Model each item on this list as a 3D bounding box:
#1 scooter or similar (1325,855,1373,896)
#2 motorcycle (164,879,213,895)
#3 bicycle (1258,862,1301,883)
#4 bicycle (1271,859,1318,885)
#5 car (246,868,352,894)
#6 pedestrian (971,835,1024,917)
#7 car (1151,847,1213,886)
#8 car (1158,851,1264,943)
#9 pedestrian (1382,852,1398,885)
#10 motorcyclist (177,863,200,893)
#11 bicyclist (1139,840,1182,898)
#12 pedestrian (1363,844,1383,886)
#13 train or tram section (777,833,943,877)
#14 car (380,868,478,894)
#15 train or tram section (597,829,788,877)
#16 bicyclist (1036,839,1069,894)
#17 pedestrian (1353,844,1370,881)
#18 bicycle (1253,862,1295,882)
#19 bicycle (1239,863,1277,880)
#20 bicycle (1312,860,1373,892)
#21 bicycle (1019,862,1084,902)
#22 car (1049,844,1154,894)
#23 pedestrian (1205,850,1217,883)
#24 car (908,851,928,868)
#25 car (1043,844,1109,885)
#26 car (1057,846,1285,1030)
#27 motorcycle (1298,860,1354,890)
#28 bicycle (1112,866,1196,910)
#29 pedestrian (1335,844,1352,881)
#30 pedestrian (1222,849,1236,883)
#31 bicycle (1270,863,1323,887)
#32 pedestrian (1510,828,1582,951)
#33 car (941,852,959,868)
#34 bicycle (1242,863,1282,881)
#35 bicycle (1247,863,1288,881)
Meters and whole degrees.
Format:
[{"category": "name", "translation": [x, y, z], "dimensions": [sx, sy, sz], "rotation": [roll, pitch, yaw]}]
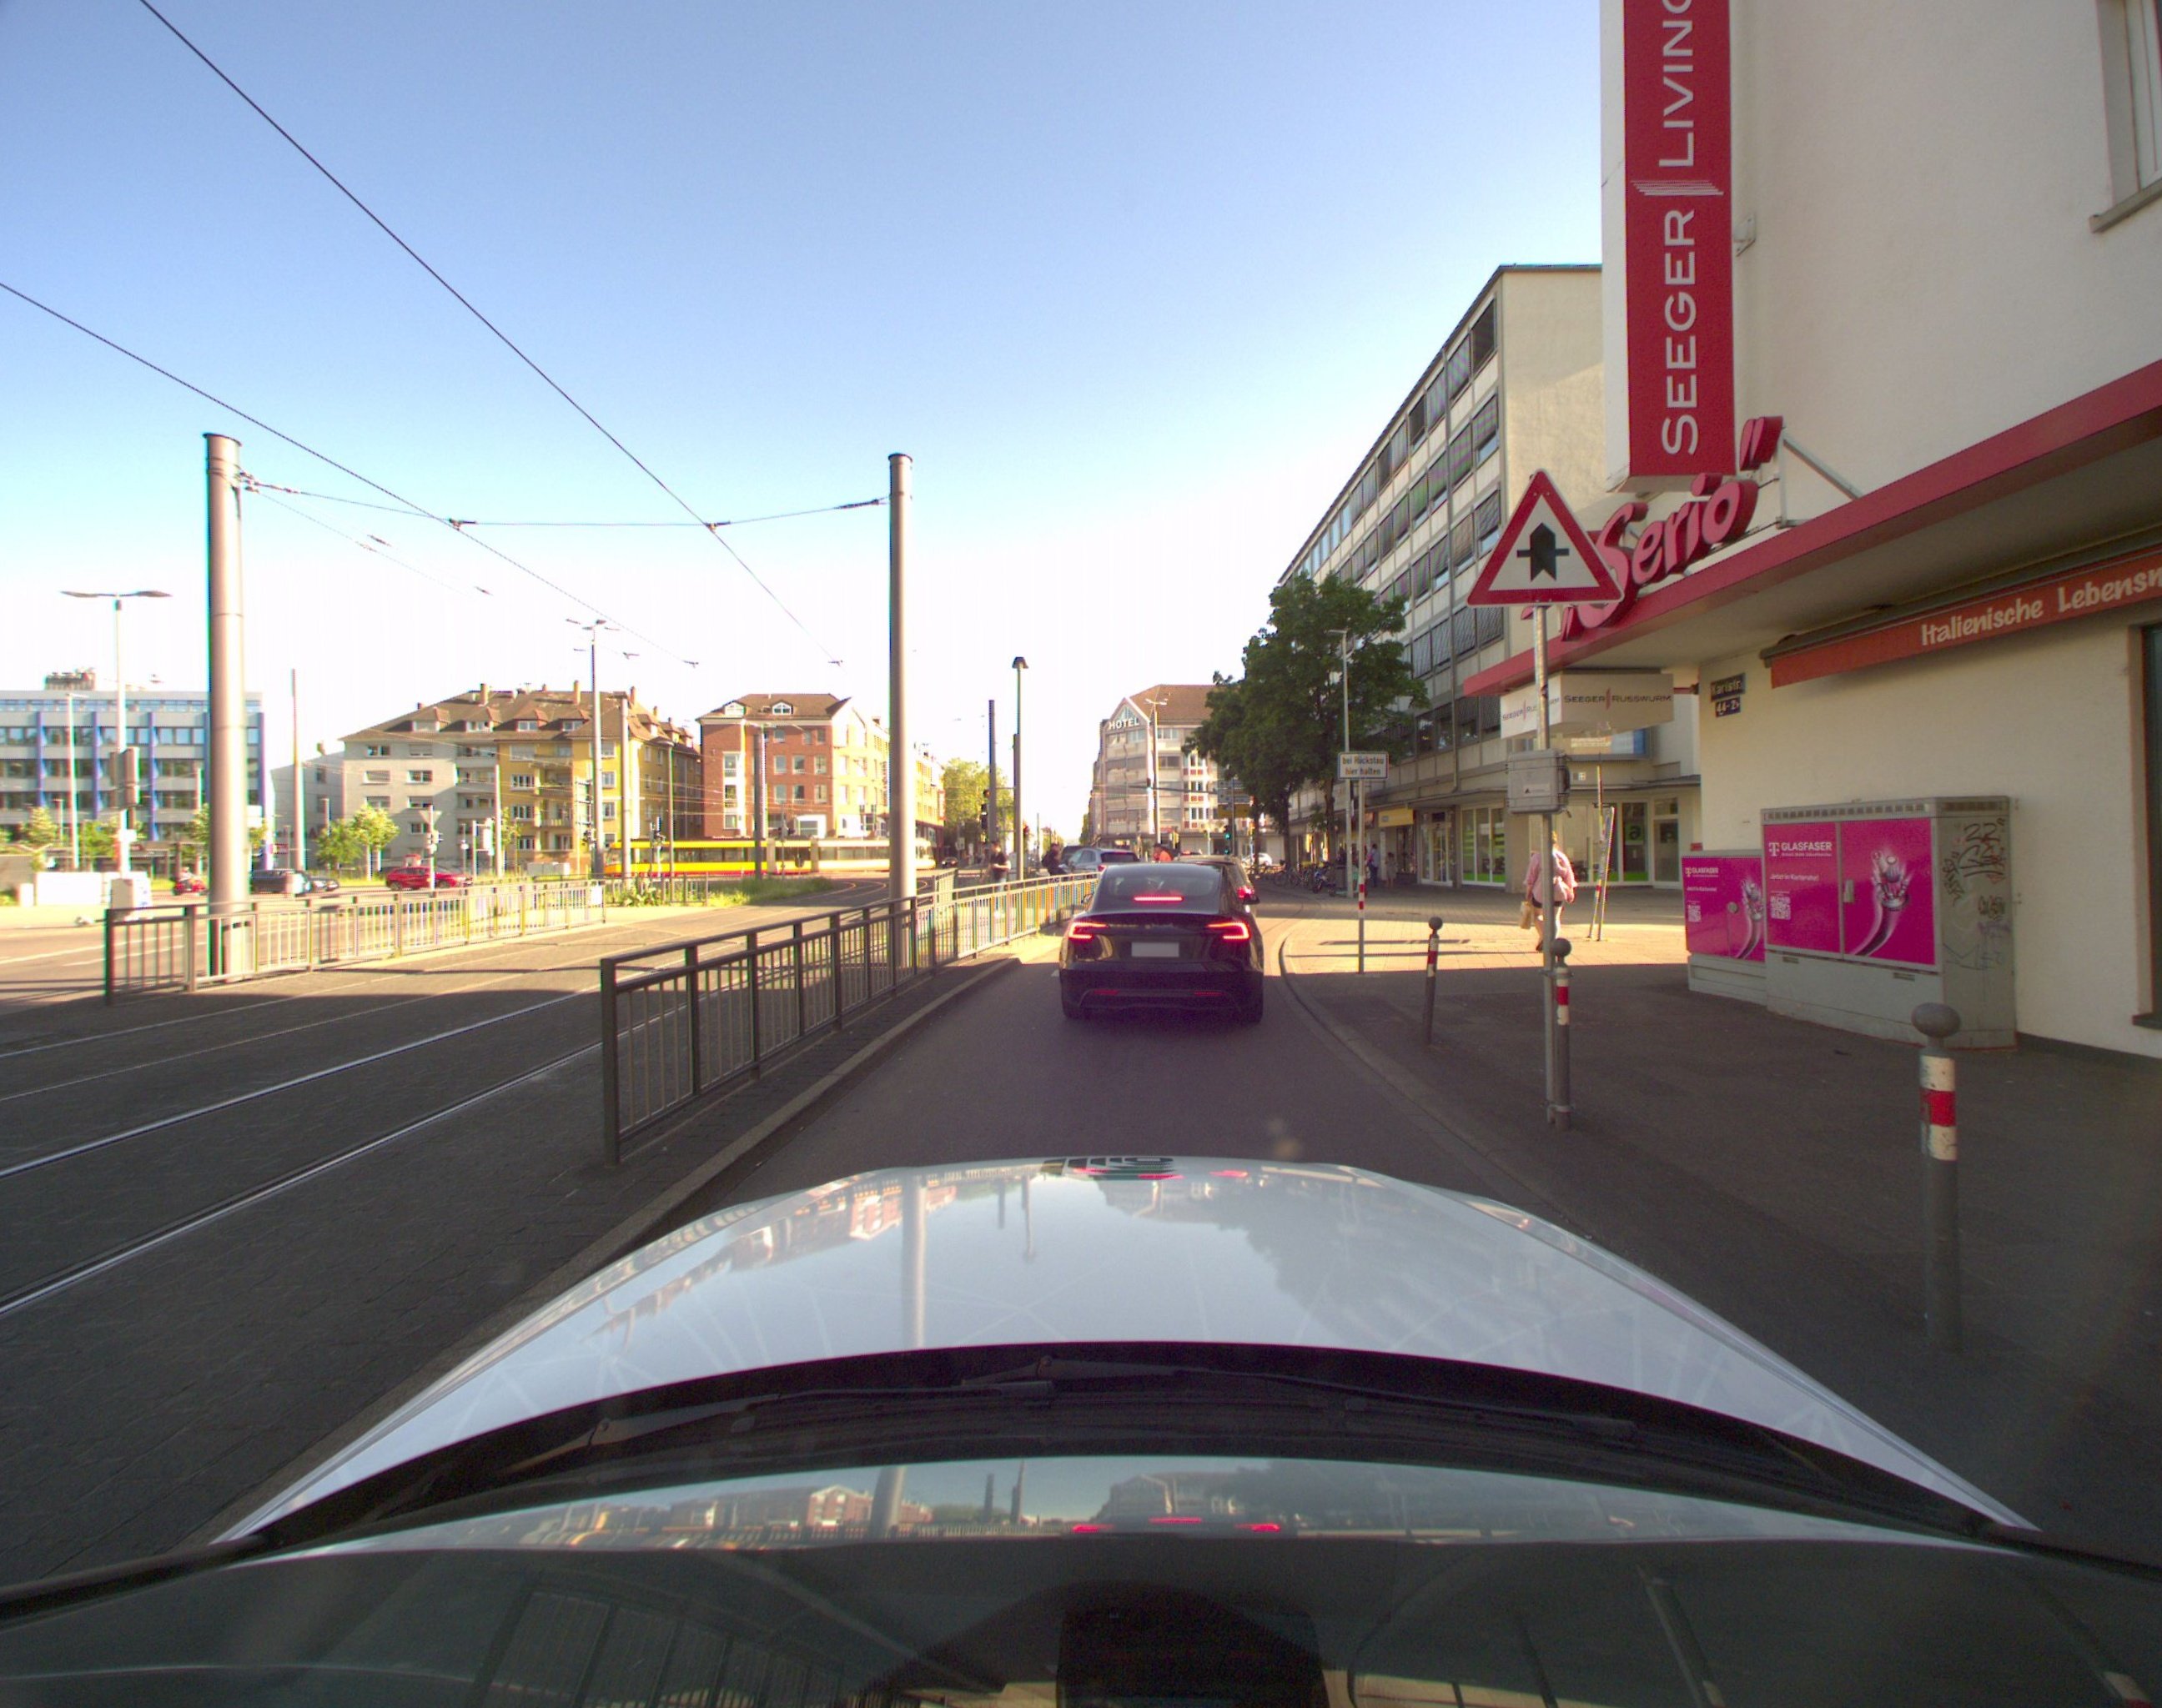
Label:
[{"category": "scooter or similar", "translation": [8.892, 0.712, 27.042], "dimensions": [1.416, 1.317, 0.690], "rotation": [0, -2, -26]}, {"category": "motorcycle", "translation": [-51.829, 1.931, 47.298], "dimensions": [1.997, 0.893, 0.559], "rotation": [1, -1, -8]}, {"category": "bicycle", "translation": [9.391, 0.865, 38.539], "dimensions": [1.917, 0.950, 0.526], "rotation": [0, -1, 1]}, {"category": "bicycle", "translation": [9.301, 0.779, 35.548], "dimensions": [1.917, 1.097, 0.555], "rotation": [0, -1, 1]}, {"category": "car", "translation": [-46.555, 1.621, 48.589], "dimensions": [4.145, 1.490, 1.932], "rotation": [1, 0, -10]}, {"category": "pedestrian", "translation": [-1.827, 0.483, 17.885], "dimensions": [1.009, 1.742, 0.524], "rotation": [1, -1, -25]}, {"category": "car", "translation": [4.119, 0.509, 33.847], "dimensions": [1.821, 1.519, 3.643], "rotation": [1, 0, -5]}, {"category": "car", "translation": [2.421, 0.664, 14.939], "dimensions": [1.643, 1.418, 4.012], "rotation": [1, 1, 10]}, {"category": "pedestrian", "translation": [12.144, 0.583, 32.028], "dimensions": [0.418, 1.280, 0.531], "rotation": [-1, -1, 2]}, {"category": "motorcyclist", "translation": [-51.864, 1.394, 47.322], "dimensions": [0.781, 1.708, 0.387], "rotation": [1, -1, -8]}, {"category": "bicyclist", "translation": [2.031, 0.376, 20.787], "dimensions": [0.909, 1.438, 0.625], "rotation": [1, -1, -14]}, {"category": "pedestrian", "translation": [11.537, 0.433, 32.165], "dimensions": [0.593, 1.641, 0.466], "rotation": [-2, -1, 1]}, {"category": "train or tram section", "translation": [-20.175, 0.214, 76.075], "dimensions": [15.469, 3.718, 2.613], "rotation": [1, -1, -43]}, {"category": "car", "translation": [-39.066, 1.593, 48.894], "dimensions": [4.145, 1.490, 1.932], "rotation": [0, 0, -10]}, {"category": "train or tram section", "translation": [-32.304, 0.011, 68.538], "dimensions": [14.200, 3.715, 2.664], "rotation": [1, -1, -22]}, {"category": "bicyclist", "translation": [-0.795, 0.352, 22.694], "dimensions": [0.836, 1.500, 0.558], "rotation": [1, -1, -8]}, {"category": "pedestrian", "translation": [12.676, 0.378, 36.804], "dimensions": [0.529, 1.641, 0.594], "rotation": [-2, -1, 1]}, {"category": "bicycle", "translation": [9.363, 0.871, 39.554], "dimensions": [1.917, 0.950, 0.526], "rotation": [0, -1, 1]}, {"category": "bicycle", "translation": [9.268, 0.897, 42.701], "dimensions": [1.917, 0.890, 0.526], "rotation": [0, -1, 1]}, {"category": "bicycle", "translation": [9.437, 0.788, 29.405], "dimensions": [2.044, 1.121, 0.483], "rotation": [0, -1, 1]}, {"category": "bicycle", "translation": [-0.838, 0.772, 22.698], "dimensions": [1.727, 1.088, 0.676], "rotation": [1, -1, -8]}, {"category": "car", "translation": [0.578, 0.460, 26.939], "dimensions": [1.792, 1.519, 4.183], "rotation": [1, 0, -25]}, {"category": "pedestrian", "translation": [6.761, 0.630, 42.253], "dimensions": [0.559, 1.683, 0.751], "rotation": [0, 0, 5]}, {"category": "car", "translation": [-20.636, 0.692, 102.999], "dimensions": [1.990, 2.014, 3.993], "rotation": [1, 0, -5]}, {"category": "car", "translation": [-0.280, 0.419, 33.281], "dimensions": [1.826, 1.519, 4.199], "rotation": [1, 0, -13]}, {"category": "car", "translation": [0.701, 0.695, 8.491], "dimensions": [1.843, 1.484, 3.785], "rotation": [1, 0, -1]}, {"category": "motorcycle", "translation": [9.445, 0.805, 31.432], "dimensions": [1.985, 1.128, 0.596], "rotation": [1, -1, -1]}, {"category": "bicycle", "translation": [1.858, 0.852, 20.738], "dimensions": [1.975, 1.072, 0.771], "rotation": [1, -1, -13]}, {"category": "pedestrian", "translation": [11.766, 0.372, 36.498], "dimensions": [0.529, 1.641, 0.607], "rotation": [-2, -1, 1]}, {"category": "pedestrian", "translation": [7.201, 0.586, 39.660], "dimensions": [0.627, 1.613, 0.643], "rotation": [0, 0, 3]}, {"category": "bicycle", "translation": [8.887, 0.849, 33.646], "dimensions": [2.044, 0.982, 0.483], "rotation": [0, -1, 1]}, {"category": "pedestrian", "translation": [6.645, 0.489, 11.672], "dimensions": [0.810, 1.683, 0.718], "rotation": [1, -1, 23]}, {"category": "car", "translation": [-17.287, 0.812, 107.306], "dimensions": [1.990, 2.014, 3.993], "rotation": [1, 0, -5]}, {"category": "bicycle", "translation": [9.252, 0.910, 41.622], "dimensions": [1.917, 0.890, 0.526], "rotation": [0, -1, 1]}, {"category": "bicycle", "translation": [9.308, 0.877, 40.630], "dimensions": [1.917, 0.888, 0.526], "rotation": [0, -1, 1]}]
